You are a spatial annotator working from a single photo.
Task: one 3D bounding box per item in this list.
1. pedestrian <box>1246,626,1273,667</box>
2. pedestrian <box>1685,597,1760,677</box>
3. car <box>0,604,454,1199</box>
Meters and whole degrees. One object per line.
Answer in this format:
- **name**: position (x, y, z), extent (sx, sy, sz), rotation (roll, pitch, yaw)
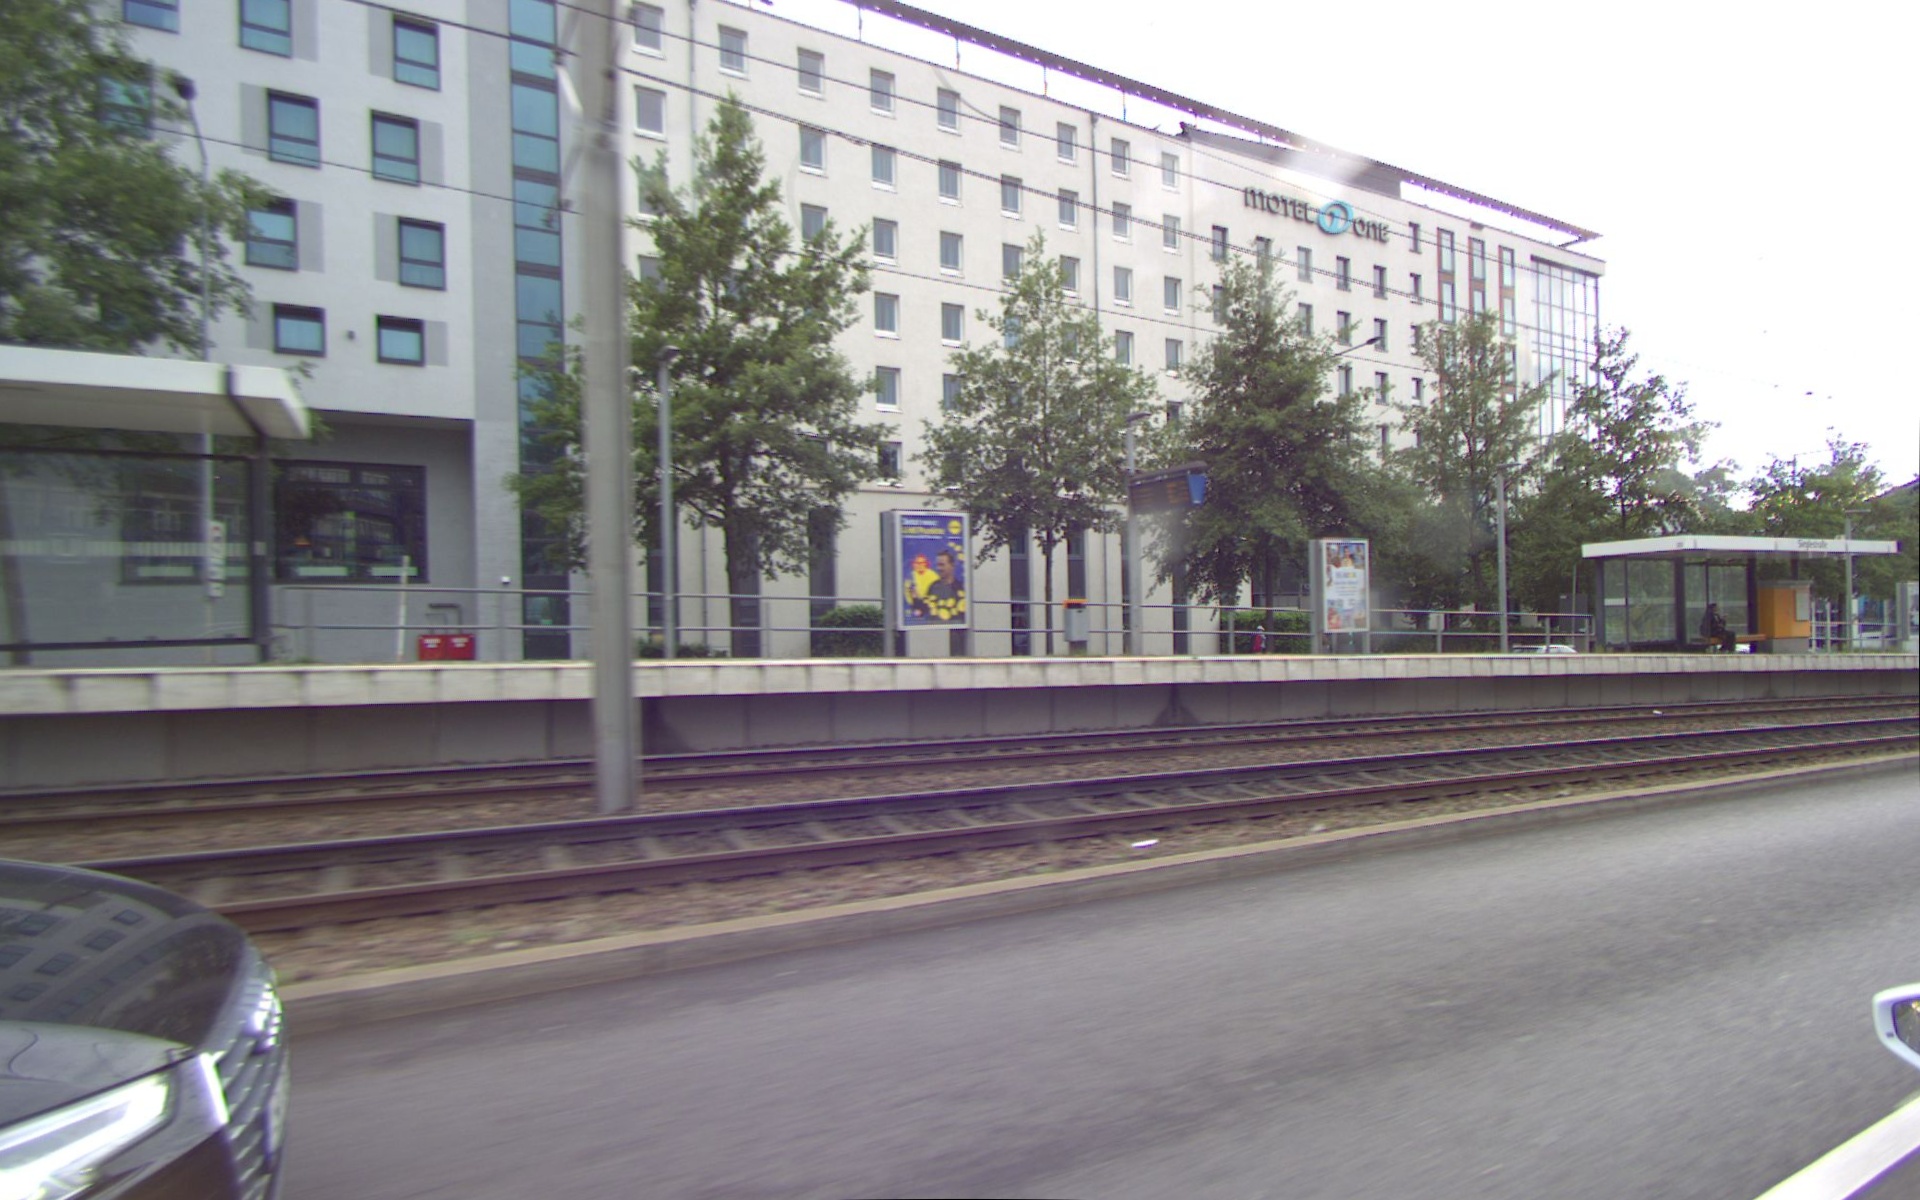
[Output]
- **pedestrian**: position (12.069, 1.887, 40.533), extent (0.825, 1.599, 0.597), rotation (2, 0, -29)
- **pedestrian**: position (20.212, 0.968, 26.648), extent (1.255, 2.040, 1.122), rotation (2, 0, -28)
- **car**: position (-3.244, 0.703, 0.974), extent (4.775, 1.453, 1.780), rotation (2, -1, -32)
